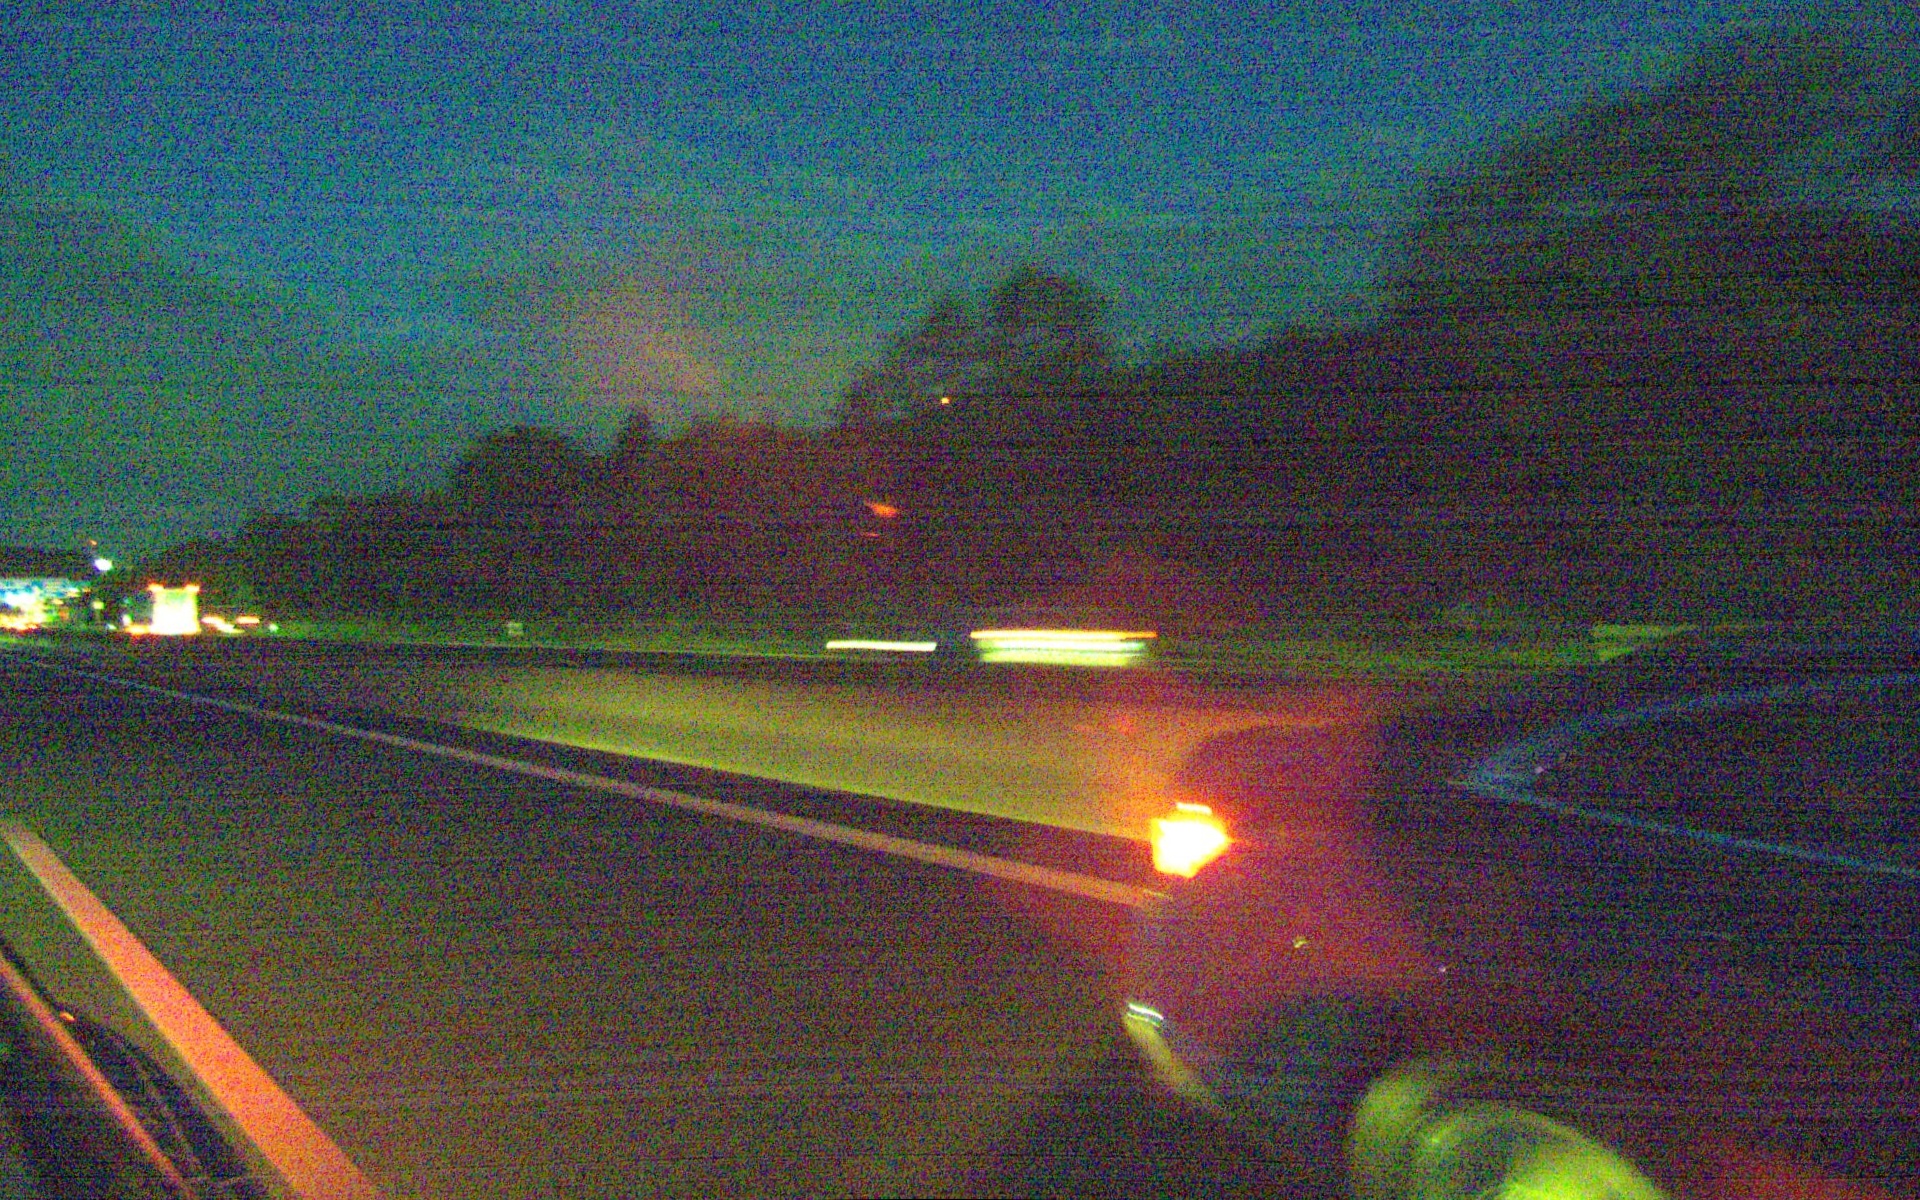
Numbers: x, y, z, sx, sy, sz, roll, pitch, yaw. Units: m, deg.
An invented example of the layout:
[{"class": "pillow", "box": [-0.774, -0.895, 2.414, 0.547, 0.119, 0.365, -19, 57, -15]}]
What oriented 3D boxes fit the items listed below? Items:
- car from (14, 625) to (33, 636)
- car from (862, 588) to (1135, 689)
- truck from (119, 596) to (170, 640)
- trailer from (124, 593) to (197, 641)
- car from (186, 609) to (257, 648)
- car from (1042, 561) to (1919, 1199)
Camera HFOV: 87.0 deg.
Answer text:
[{"class": "car", "box": [-150.570, 4.881, 162.657, 4.950, 1.682, 1.988, -2, -1, 45]}, {"class": "car", "box": [0.631, 0.680, 19.274, 4.886, 1.681, 2.221, -1, -1, 40]}, {"class": "truck", "box": [-75.898, 1.682, 94.116, 5.859, 4.010, 2.823, -2, -1, 42]}, {"class": "trailer", "box": [-70.825, 1.542, 89.478, 13.883, 4.010, 2.823, -2, -1, 42]}, {"class": "car", "box": [-42.246, 1.619, 57.822, 5.714, 2.117, 2.220, -1, -1, 42]}, {"class": "car", "box": [2.967, 0.655, 1.311, 5.649, 1.530, 1.972, -3, -1, 42]}]
